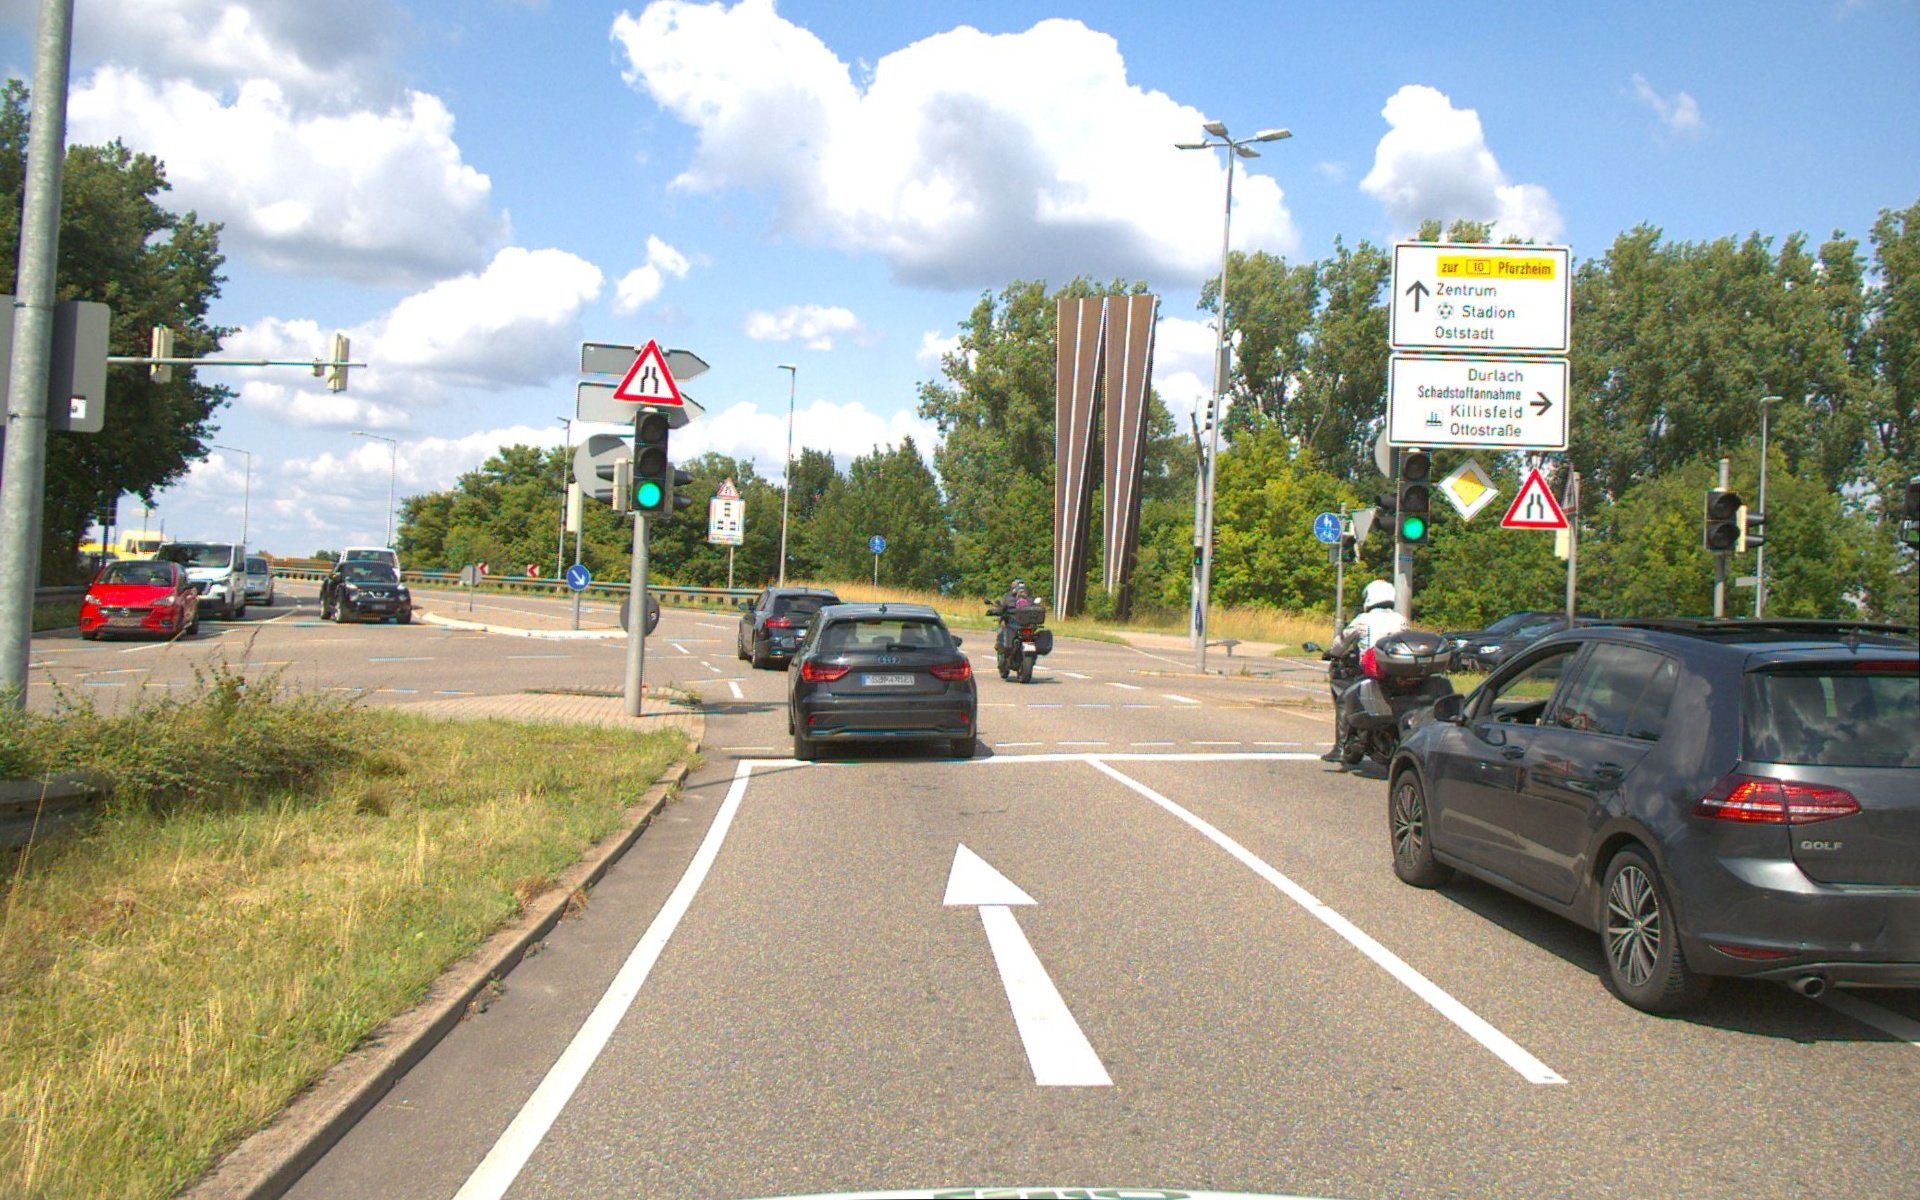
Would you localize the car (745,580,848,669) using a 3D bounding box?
[{"bbox_3d":[-2.971,0.422,30.740,1.609,1.504,3.871,2,0,-2],"label":"car"}]

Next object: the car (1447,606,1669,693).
[{"bbox_3d":[13.186,1.075,36.612,4.196,1.645,1.844,3,-1,-3],"label":"car"}]

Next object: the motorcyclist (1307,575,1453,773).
[{"bbox_3d":[3.681,0.625,14.594,0.946,1.648,1.125,2,0,0],"label":"motorcyclist"}]

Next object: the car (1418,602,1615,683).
[{"bbox_3d":[13.563,1.018,40.444,4.118,1.674,1.837,3,1,-3],"label":"car"}]

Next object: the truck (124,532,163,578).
[{"bbox_3d":[-48.840,-2.703,98.992,1.968,2.666,6.056,0,2,-25],"label":"truck"}]

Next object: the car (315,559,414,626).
[{"bbox_3d":[-15.358,-0.215,42.554,1.681,1.584,3.782,1,1,-31],"label":"car"}]

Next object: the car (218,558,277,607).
[{"bbox_3d":[-23.457,-0.590,54.515,1.709,1.547,4.040,-1,1,-23],"label":"car"}]

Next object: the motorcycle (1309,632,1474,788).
[{"bbox_3d":[3.695,0.902,14.387,0.773,1.151,2.399,2,0,0],"label":"motorcycle"}]

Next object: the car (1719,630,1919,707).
[{"bbox_3d":[19.533,1.534,36.859,4.438,1.399,1.645,3,1,-3],"label":"car"}]

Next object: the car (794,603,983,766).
[{"bbox_3d":[-0.789,0.750,16.439,1.649,1.412,3.735,1,0,-5],"label":"car"}]

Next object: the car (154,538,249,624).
[{"bbox_3d":[-19.362,-0.479,42.373,1.966,2.049,5.101,0,0,-22],"label":"car"}]

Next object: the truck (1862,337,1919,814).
[{"bbox_3d":[8.885,-0.180,11.532,2.808,3.971,5.882,4,0,13],"label":"truck"}]

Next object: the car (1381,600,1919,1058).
[{"bbox_3d":[3.325,0.778,7.478,1.610,1.504,3.869,2,0,-4],"label":"car"}]

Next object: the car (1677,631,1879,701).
[{"bbox_3d":[20.076,1.610,40.686,4.118,1.399,1.645,3,1,-3],"label":"car"}]

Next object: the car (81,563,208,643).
[{"bbox_3d":[-15.833,0.038,32.278,1.556,1.457,3.981,1,0,-17],"label":"car"}]

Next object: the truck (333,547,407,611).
[{"bbox_3d":[-19.451,-0.723,54.383,1.934,1.946,5.332,1,1,-23],"label":"truck"}]

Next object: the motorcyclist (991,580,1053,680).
[{"bbox_3d":[1.045,0.504,28.037,0.946,1.624,1.125,2,0,0],"label":"motorcyclist"}]

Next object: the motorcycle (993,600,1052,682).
[{"bbox_3d":[1.033,0.666,28.012,0.869,1.269,2.399,2,0,0],"label":"motorcycle"}]
